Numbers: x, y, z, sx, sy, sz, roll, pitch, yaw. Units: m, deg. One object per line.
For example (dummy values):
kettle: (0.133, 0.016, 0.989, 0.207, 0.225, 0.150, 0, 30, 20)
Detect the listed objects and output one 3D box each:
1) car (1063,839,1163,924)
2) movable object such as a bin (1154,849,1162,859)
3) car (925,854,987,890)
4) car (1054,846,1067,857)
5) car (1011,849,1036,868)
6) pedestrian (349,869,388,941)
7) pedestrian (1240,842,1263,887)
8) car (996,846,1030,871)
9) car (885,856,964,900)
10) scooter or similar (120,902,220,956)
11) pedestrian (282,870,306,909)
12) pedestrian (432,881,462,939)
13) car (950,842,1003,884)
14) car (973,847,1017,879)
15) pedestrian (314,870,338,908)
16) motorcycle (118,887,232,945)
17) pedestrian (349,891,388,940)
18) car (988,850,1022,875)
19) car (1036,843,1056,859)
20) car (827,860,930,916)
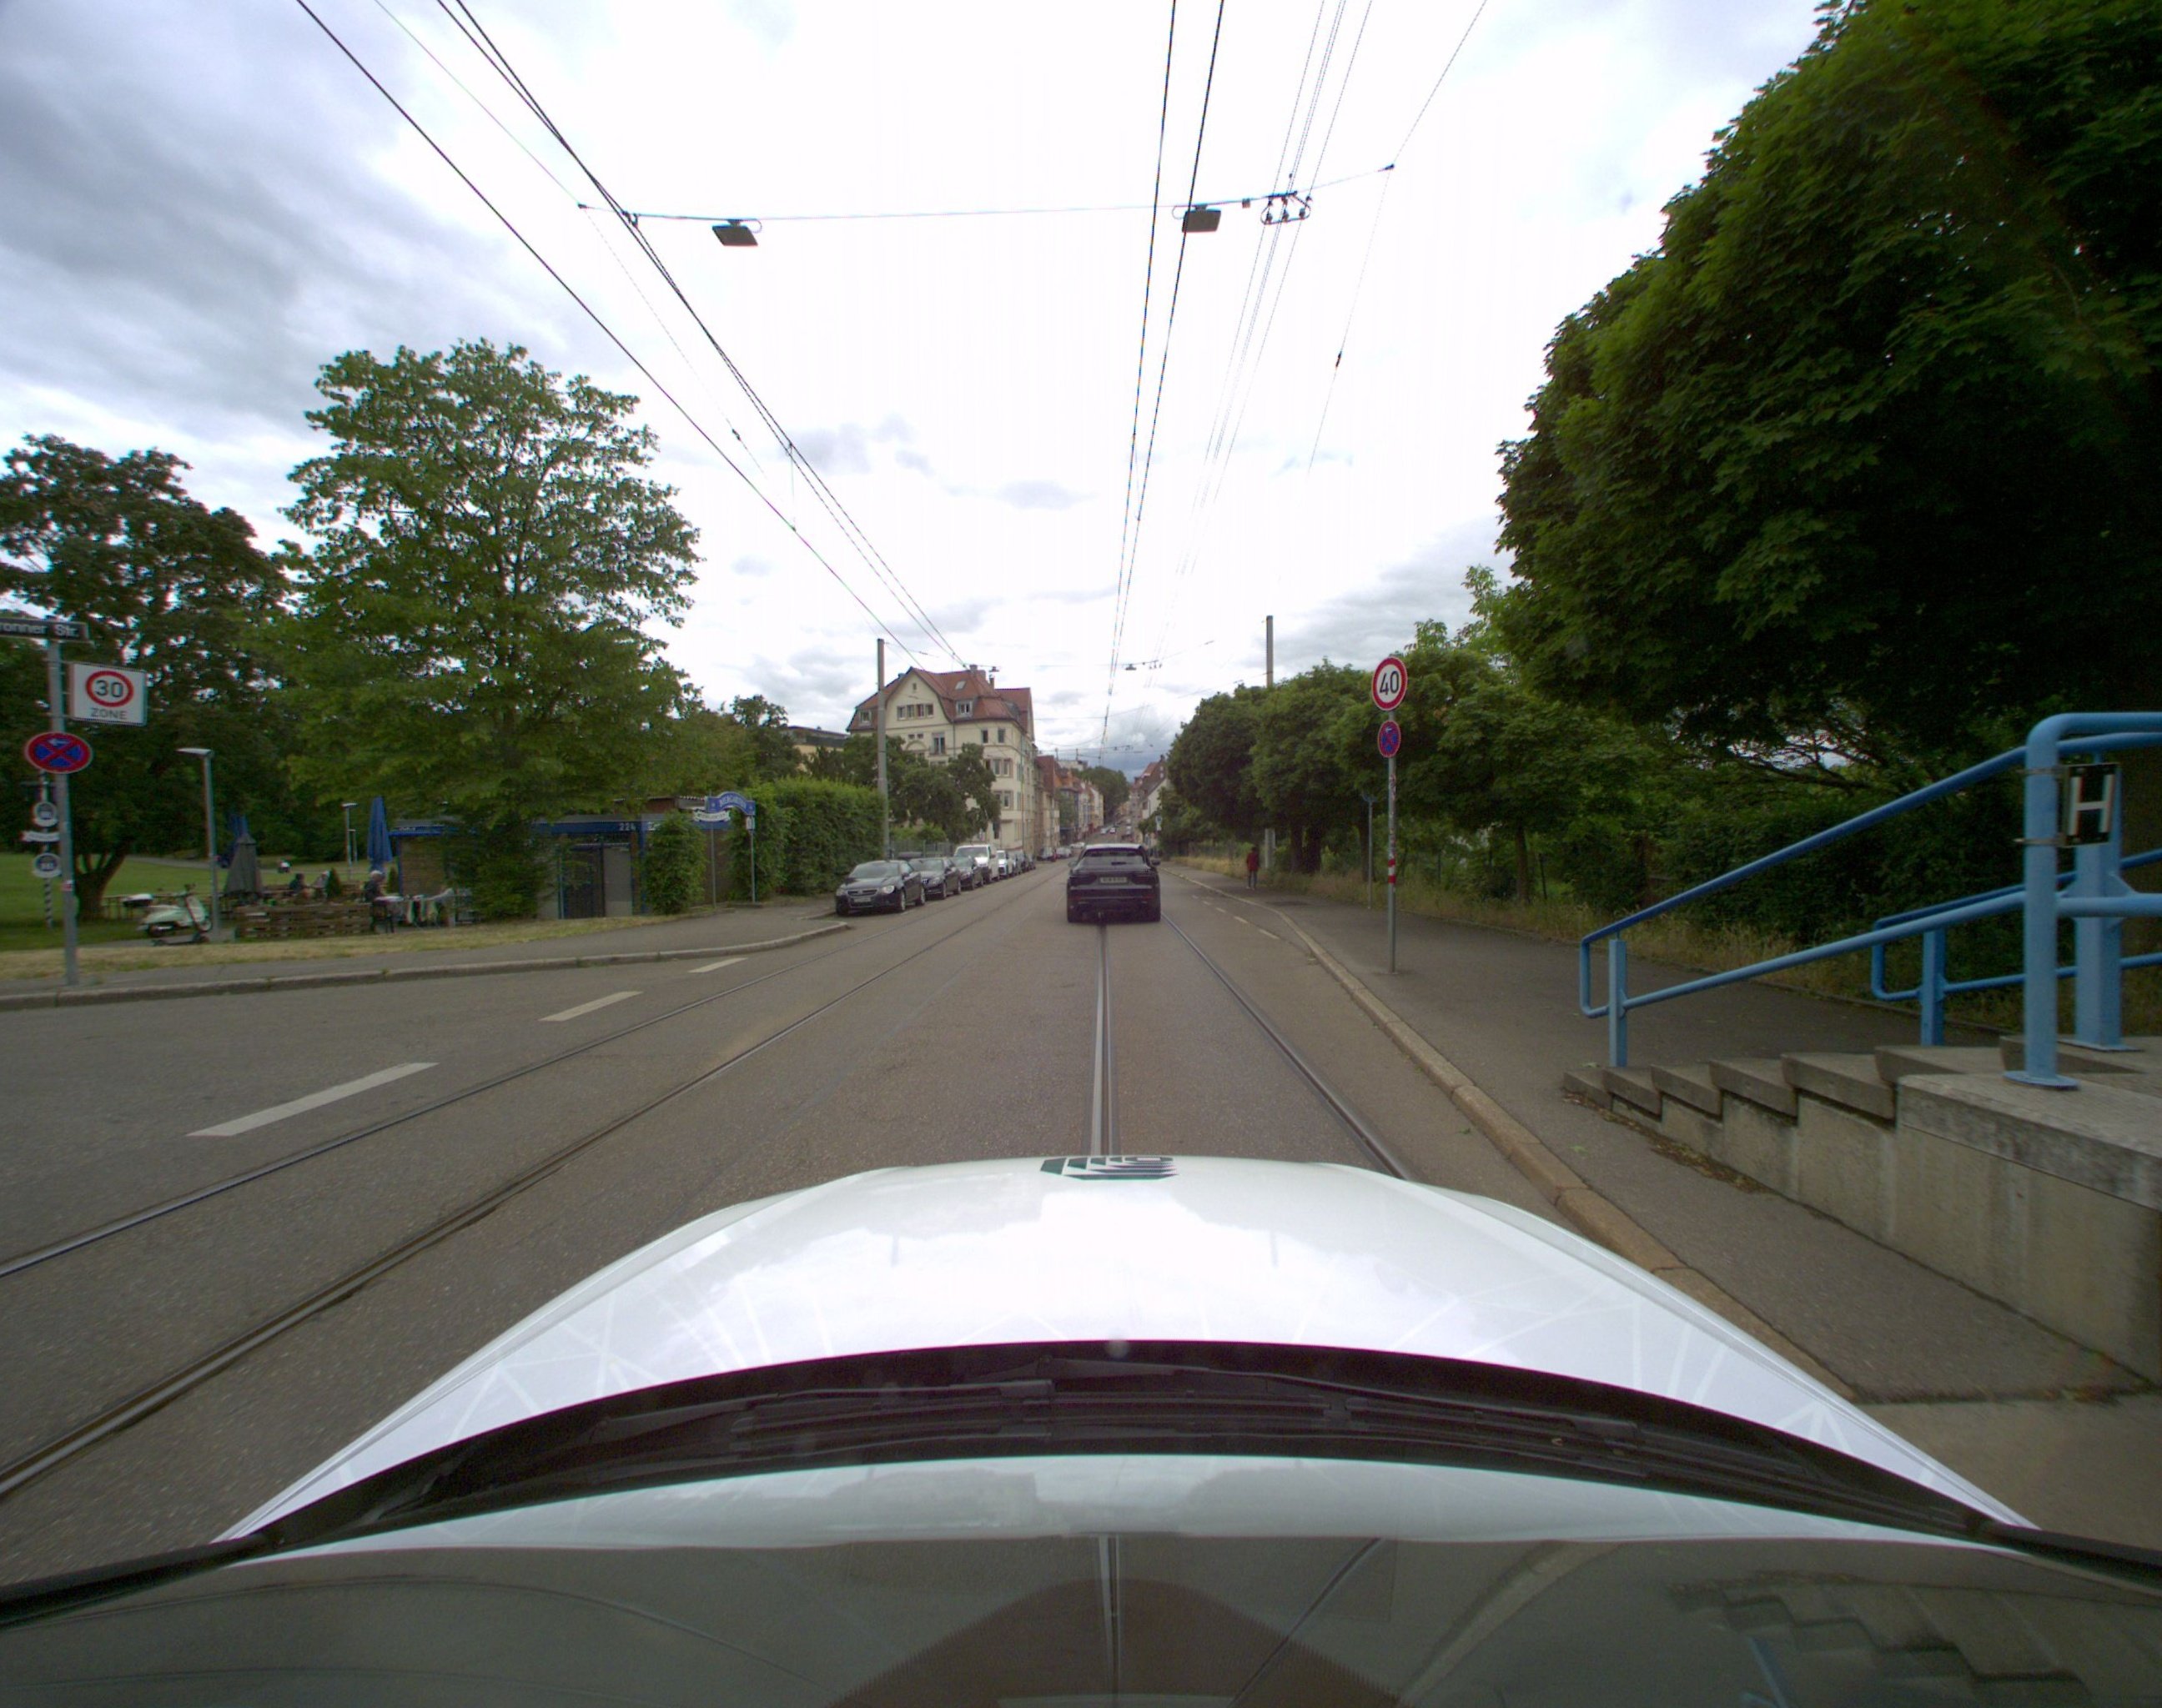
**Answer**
car: (0.703, 0.550, 18.287, 1.986, 1.676, 4.001, -1, 0, 2)
movable object such as a bin: (9.255, 0.003, 97.999, 0.790, 1.218, 0.788, -1, 0, -2)
car: (-5.282, 0.749, 34.962, 1.833, 1.387, 4.518, -1, -1, 1)
car: (-2.901, -0.278, 114.310, 1.615, 1.463, 4.033, -1, -1, 1)
car: (-4.525, 0.373, 64.924, 1.615, 1.477, 4.156, -1, -1, 1)
pedestrian: (-16.997, 1.202, 19.422, 0.669, 1.664, 0.614, 0, 0, -44)
pedestrian: (6.236, 0.378, 29.827, 0.712, 1.620, 0.719, -1, 0, 2)
car: (-4.800, 0.305, 58.408, 1.962, 1.686, 4.444, -1, -1, 1)
car: (-5.376, 0.786, 28.546, 1.833, 1.387, 4.440, -1, -1, 1)
scooter or similar: (-19.392, 1.571, 17.374, 0.488, 1.019, 1.421, -1, -1, 2)
pedestrian: (-29.987, 1.346, 31.027, 0.641, 1.424, 0.614, 0, 0, -44)
pedestrian: (-15.384, 1.349, 19.749, 0.522, 1.342, 0.477, 0, 0, -44)
car: (-5.164, 0.445, 40.910, 1.962, 1.913, 4.735, -1, -1, 1)
car: (-4.875, 0.511, 46.784, 1.962, 1.686, 4.633, -1, -1, 1)
pedestrian: (-28.752, 1.331, 30.998, 0.641, 1.424, 0.614, 0, 0, -44)
motorcycle: (-23.303, 1.555, 21.013, 0.621, 1.305, 2.257, -1, 0, -7)
pedestrian: (-16.612, 1.426, 18.988, 0.669, 1.064, 0.477, -1, 0, -44)
car: (-4.809, 0.535, 52.203, 1.732, 1.509, 3.869, -1, -1, 1)
car: (-3.816, -0.281, 89.628, 1.861, 1.646, 4.402, -1, -1, 1)
car: (-5.569, 0.885, 22.895, 1.784, 1.404, 4.161, -1, -1, 1)
